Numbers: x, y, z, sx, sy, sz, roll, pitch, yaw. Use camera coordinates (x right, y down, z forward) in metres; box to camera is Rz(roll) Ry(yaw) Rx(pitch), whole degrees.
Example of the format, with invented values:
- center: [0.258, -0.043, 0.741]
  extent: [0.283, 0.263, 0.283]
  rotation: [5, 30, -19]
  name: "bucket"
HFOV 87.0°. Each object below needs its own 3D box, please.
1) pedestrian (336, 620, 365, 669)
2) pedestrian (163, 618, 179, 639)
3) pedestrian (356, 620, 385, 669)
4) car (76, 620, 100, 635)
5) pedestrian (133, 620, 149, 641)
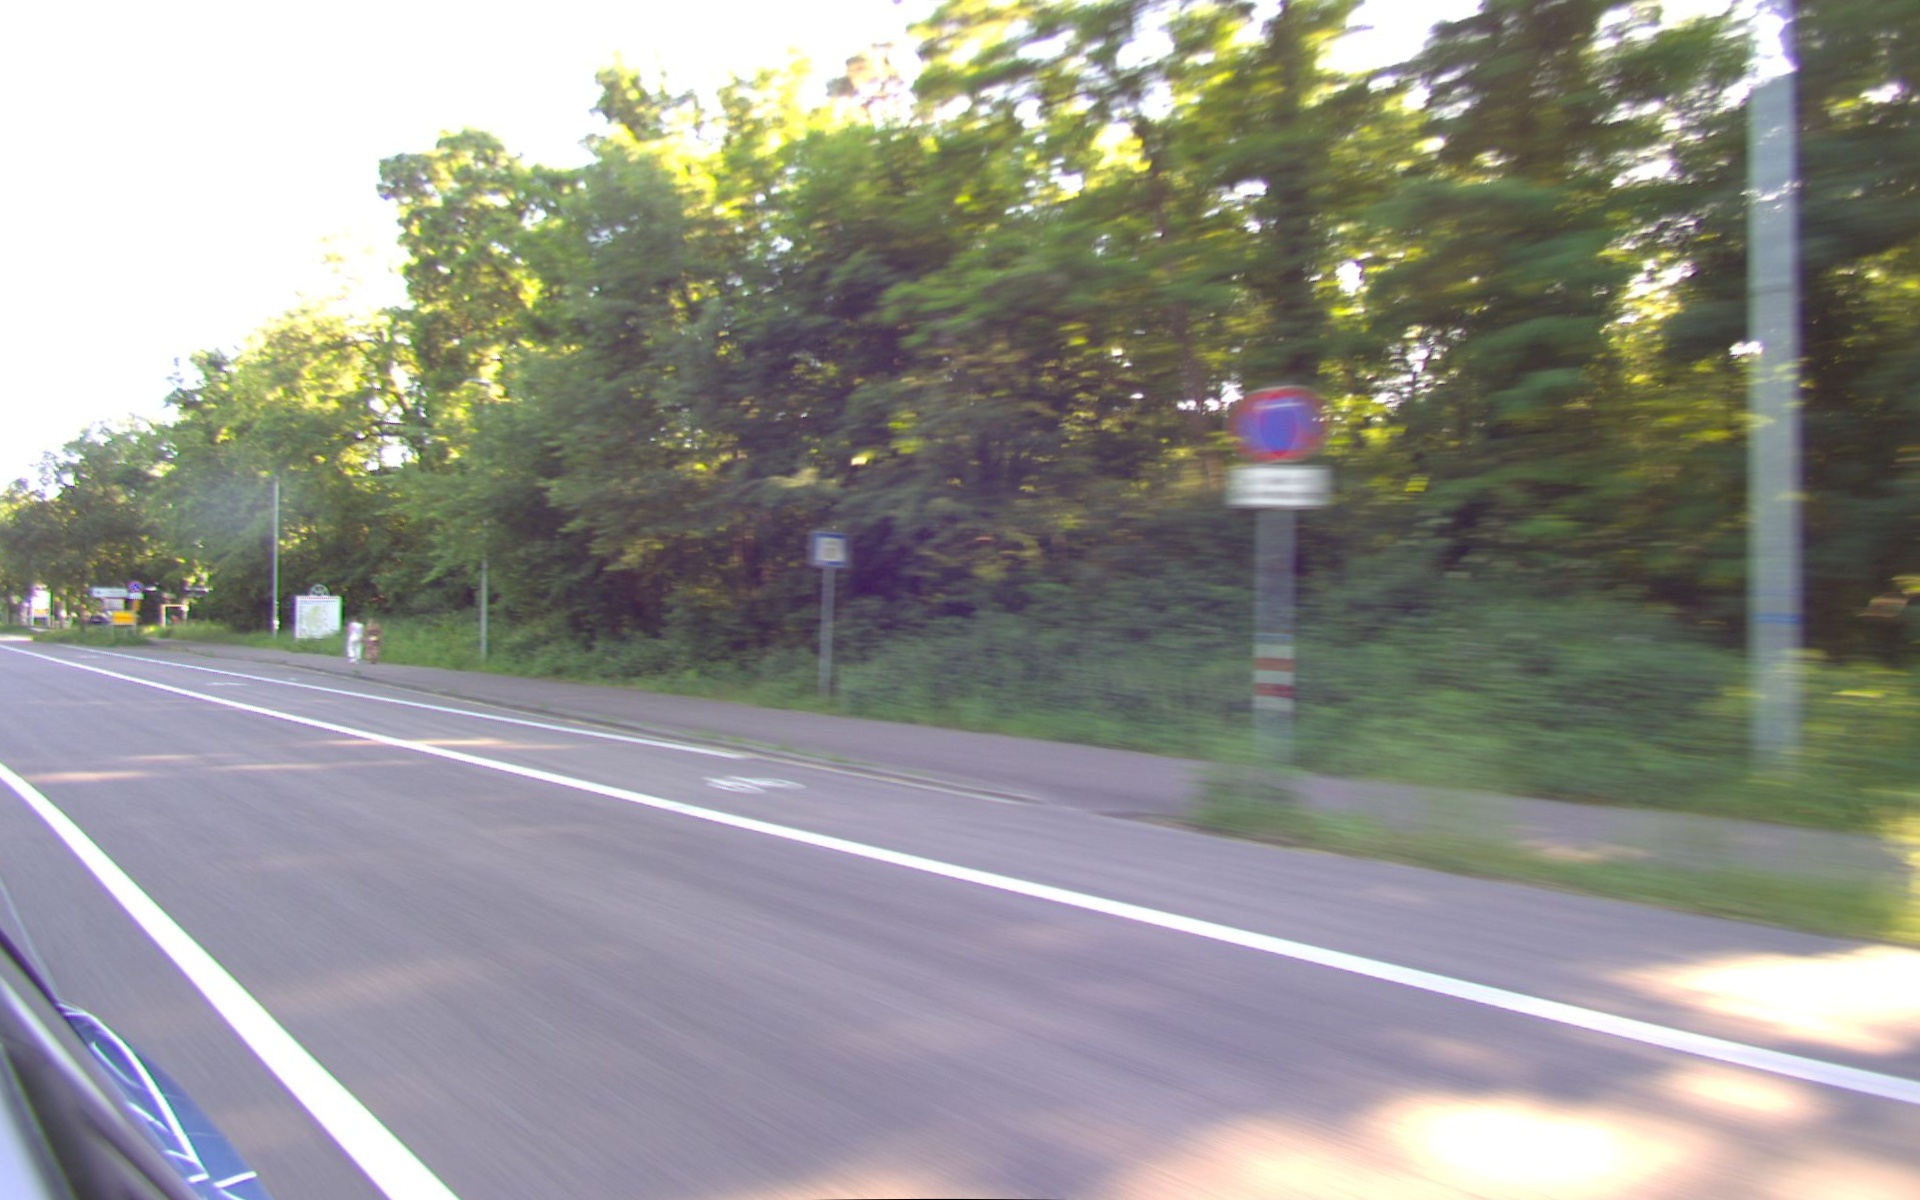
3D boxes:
- center: [-20.764, 1.513, 34.496]
  extent: [0.667, 1.666, 0.790]
  rotation: [2, -2, -44]
  name: "pedestrian"
- center: [-69.960, 2.555, 89.729]
  extent: [0.820, 1.833, 0.739]
  rotation: [1, -2, -19]
  name: "pedestrian"
- center: [-20.333, 1.533, 34.899]
  extent: [0.667, 1.666, 0.790]
  rotation: [2, -2, -44]
  name: "pedestrian"
- center: [-101.974, 3.224, 118.353]
  extent: [3.613, 1.653, 1.734]
  rotation: [-1, -2, 44]
  name: "car"
- center: [-72.018, 2.717, 89.001]
  extent: [0.824, 1.833, 0.735]
  rotation: [0, -2, 5]
  name: "pedestrian"
